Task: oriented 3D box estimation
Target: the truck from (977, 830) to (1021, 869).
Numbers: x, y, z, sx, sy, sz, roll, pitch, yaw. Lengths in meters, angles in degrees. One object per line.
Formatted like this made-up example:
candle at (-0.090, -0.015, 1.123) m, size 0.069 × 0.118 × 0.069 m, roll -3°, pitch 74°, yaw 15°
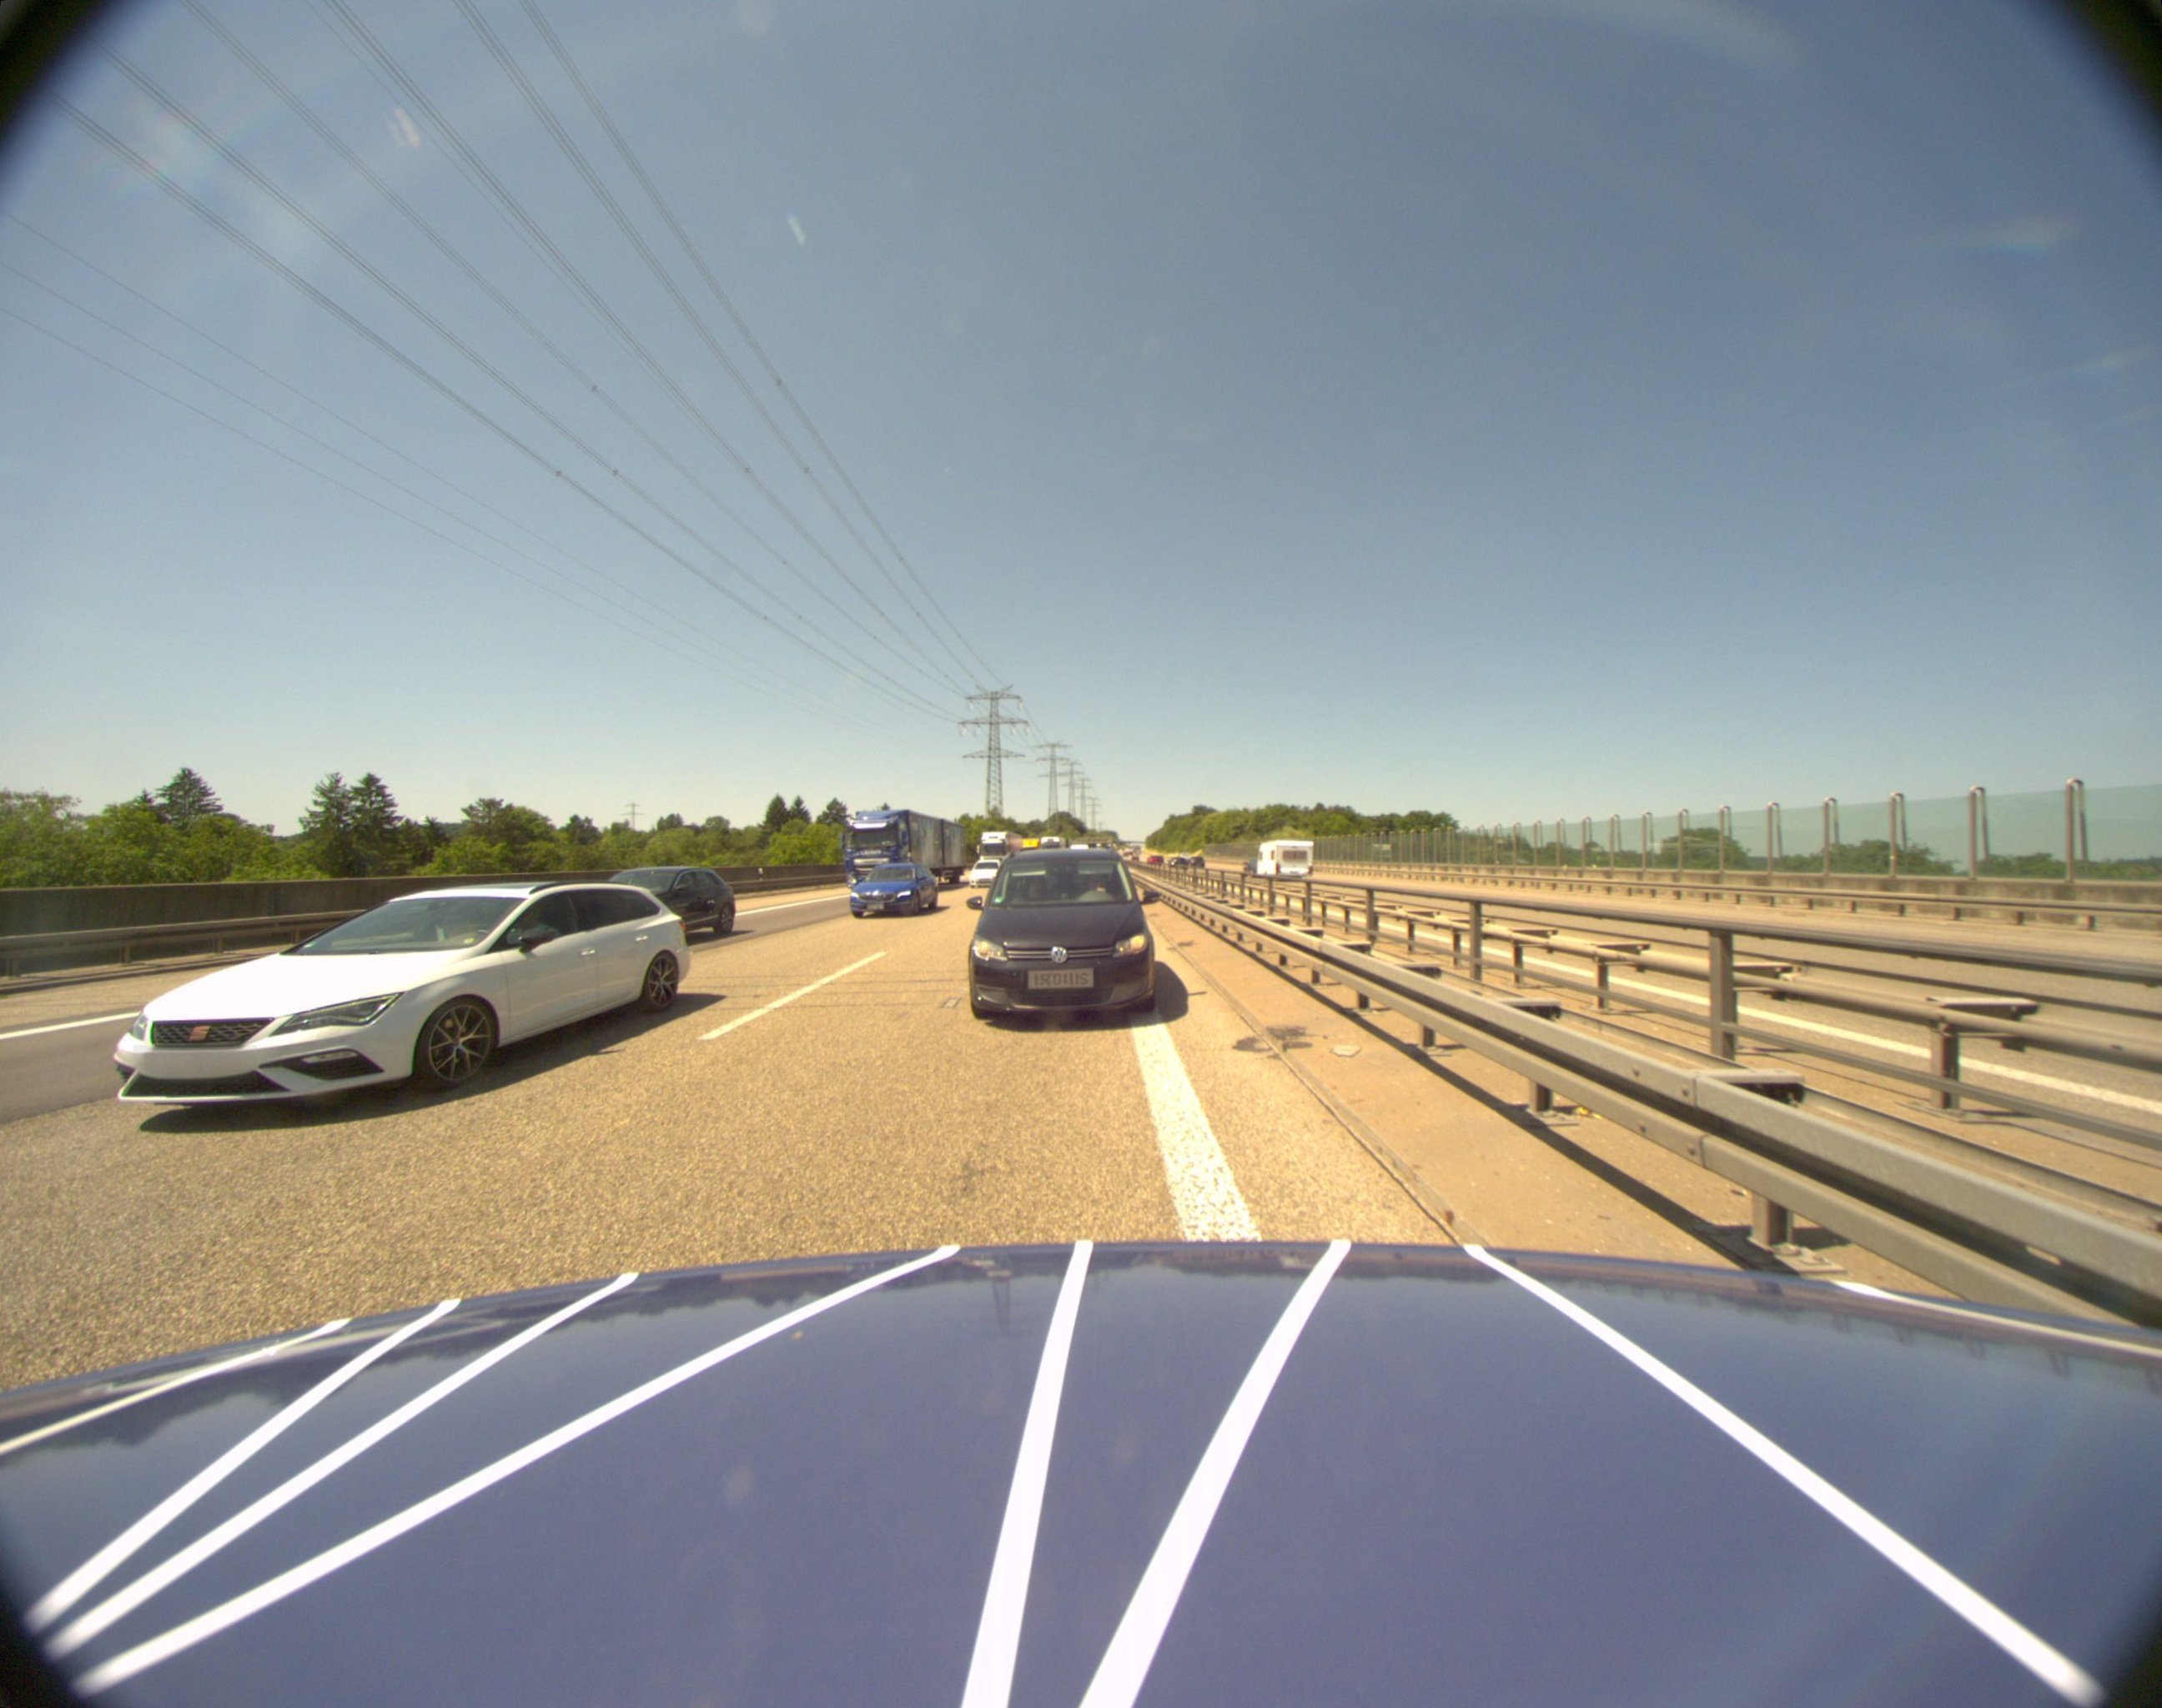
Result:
truck at (-8.079, -0.461, 76.396) m, size 2.985 × 3.538 × 10.967 m, roll -2°, pitch 1°, yaw 1°

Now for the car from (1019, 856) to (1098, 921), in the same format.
car at (-0.511, 0.824, 20.290) m, size 1.845 × 1.495 × 4.377 m, roll -1°, pitch 0°, yaw 1°

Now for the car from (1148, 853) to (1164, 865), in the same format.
car at (10.269, 0.642, 103.831) m, size 1.795 × 1.469 × 3.988 m, roll 2°, pitch 0°, yaw 1°

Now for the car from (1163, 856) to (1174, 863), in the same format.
car at (16.268, 0.986, 141.536) m, size 1.601 × 1.342 × 4.179 m, roll 1°, pitch 0°, yaw 1°

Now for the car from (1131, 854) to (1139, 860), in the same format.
car at (12.153, 0.660, 170.969) m, size 1.601 × 1.310 × 4.341 m, roll 1°, pitch 0°, yaw 0°

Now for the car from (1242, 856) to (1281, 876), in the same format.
car at (13.064, 0.836, 55.357) m, size 1.780 × 1.399 × 4.682 m, roll 1°, pitch 0°, yaw 1°

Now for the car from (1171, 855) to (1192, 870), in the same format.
car at (9.842, 0.818, 74.522) m, size 1.672 × 1.439 × 4.000 m, roll 2°, pitch 0°, yaw 2°

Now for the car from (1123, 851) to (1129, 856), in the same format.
car at (14.889, -0.303, 249.983) m, size 1.810 × 1.618 × 4.477 m, roll 1°, pitch 0°, yaw 0°

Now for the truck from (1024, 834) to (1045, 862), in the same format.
truck at (-7.094, -0.866, 116.789) m, size 2.346 × 4.058 × 8.278 m, roll -2°, pitch 1°, yaw 1°

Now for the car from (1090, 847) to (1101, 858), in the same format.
car at (2.910, -0.328, 154.465) m, size 1.998 × 2.002 × 4.000 m, roll -2°, pitch 1°, yaw 1°

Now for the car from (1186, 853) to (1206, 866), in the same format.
car at (13.788, 0.667, 91.120) m, size 1.734 × 1.483 × 4.419 m, roll 1°, pitch 0°, yaw 0°

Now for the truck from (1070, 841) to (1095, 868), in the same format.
truck at (0.160, 0.054, 75.002) m, size 2.284 × 2.479 × 5.861 m, roll -2°, pitch 0°, yaw 1°

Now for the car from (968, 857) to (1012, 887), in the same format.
car at (-4.905, 0.954, 41.499) m, size 1.762 × 1.495 × 4.095 m, roll -1°, pitch 0°, yaw 1°

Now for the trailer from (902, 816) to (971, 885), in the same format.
trailer at (-9.034, -0.237, 48.625) m, size 2.572 × 3.922 × 8.479 m, roll -2°, pitch 0°, yaw 1°

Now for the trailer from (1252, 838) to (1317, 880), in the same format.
trailer at (13.124, 0.283, 49.585) m, size 2.499 × 2.534 × 6.774 m, roll 1°, pitch 0°, yaw 1°

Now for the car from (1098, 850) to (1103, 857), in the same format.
car at (6.266, -0.210, 243.799) m, size 1.805 × 2.002 × 4.000 m, roll -1°, pitch 0°, yaw 1°

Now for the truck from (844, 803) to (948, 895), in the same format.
truck at (-9.162, -0.243, 39.126) m, size 2.529 × 4.043 × 10.447 m, roll -2°, pitch 0°, yaw 1°

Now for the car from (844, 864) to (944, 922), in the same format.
car at (-5.322, 1.053, 22.191) m, size 1.739 × 1.437 × 4.210 m, roll -1°, pitch 0°, yaw 2°

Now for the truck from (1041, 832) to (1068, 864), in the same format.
truck at (-3.460, -0.802, 101.648) m, size 2.980 × 3.832 × 10.561 m, roll -2°, pitch 1°, yaw 1°

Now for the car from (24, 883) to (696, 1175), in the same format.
car at (-5.263, 1.105, 6.507) m, size 1.843 × 1.481 × 4.071 m, roll -2°, pitch 0°, yaw -1°

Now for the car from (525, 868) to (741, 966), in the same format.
car at (-8.580, 1.116, 15.051) m, size 1.740 × 1.518 × 4.106 m, roll -2°, pitch 0°, yaw 1°

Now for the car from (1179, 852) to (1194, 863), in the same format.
car at (19.134, 0.619, 138.415) m, size 1.998 × 1.874 × 5.255 m, roll 1°, pitch 0°, yaw 0°

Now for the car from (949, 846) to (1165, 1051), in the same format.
car at (-0.191, 0.774, 8.338) m, size 1.740 × 1.652 × 3.999 m, roll -2°, pitch 1°, yaw 0°

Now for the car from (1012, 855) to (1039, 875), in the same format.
car at (-4.340, 0.831, 59.687) m, size 1.763 × 1.495 × 4.094 m, roll -1°, pitch 0°, yaw 0°
